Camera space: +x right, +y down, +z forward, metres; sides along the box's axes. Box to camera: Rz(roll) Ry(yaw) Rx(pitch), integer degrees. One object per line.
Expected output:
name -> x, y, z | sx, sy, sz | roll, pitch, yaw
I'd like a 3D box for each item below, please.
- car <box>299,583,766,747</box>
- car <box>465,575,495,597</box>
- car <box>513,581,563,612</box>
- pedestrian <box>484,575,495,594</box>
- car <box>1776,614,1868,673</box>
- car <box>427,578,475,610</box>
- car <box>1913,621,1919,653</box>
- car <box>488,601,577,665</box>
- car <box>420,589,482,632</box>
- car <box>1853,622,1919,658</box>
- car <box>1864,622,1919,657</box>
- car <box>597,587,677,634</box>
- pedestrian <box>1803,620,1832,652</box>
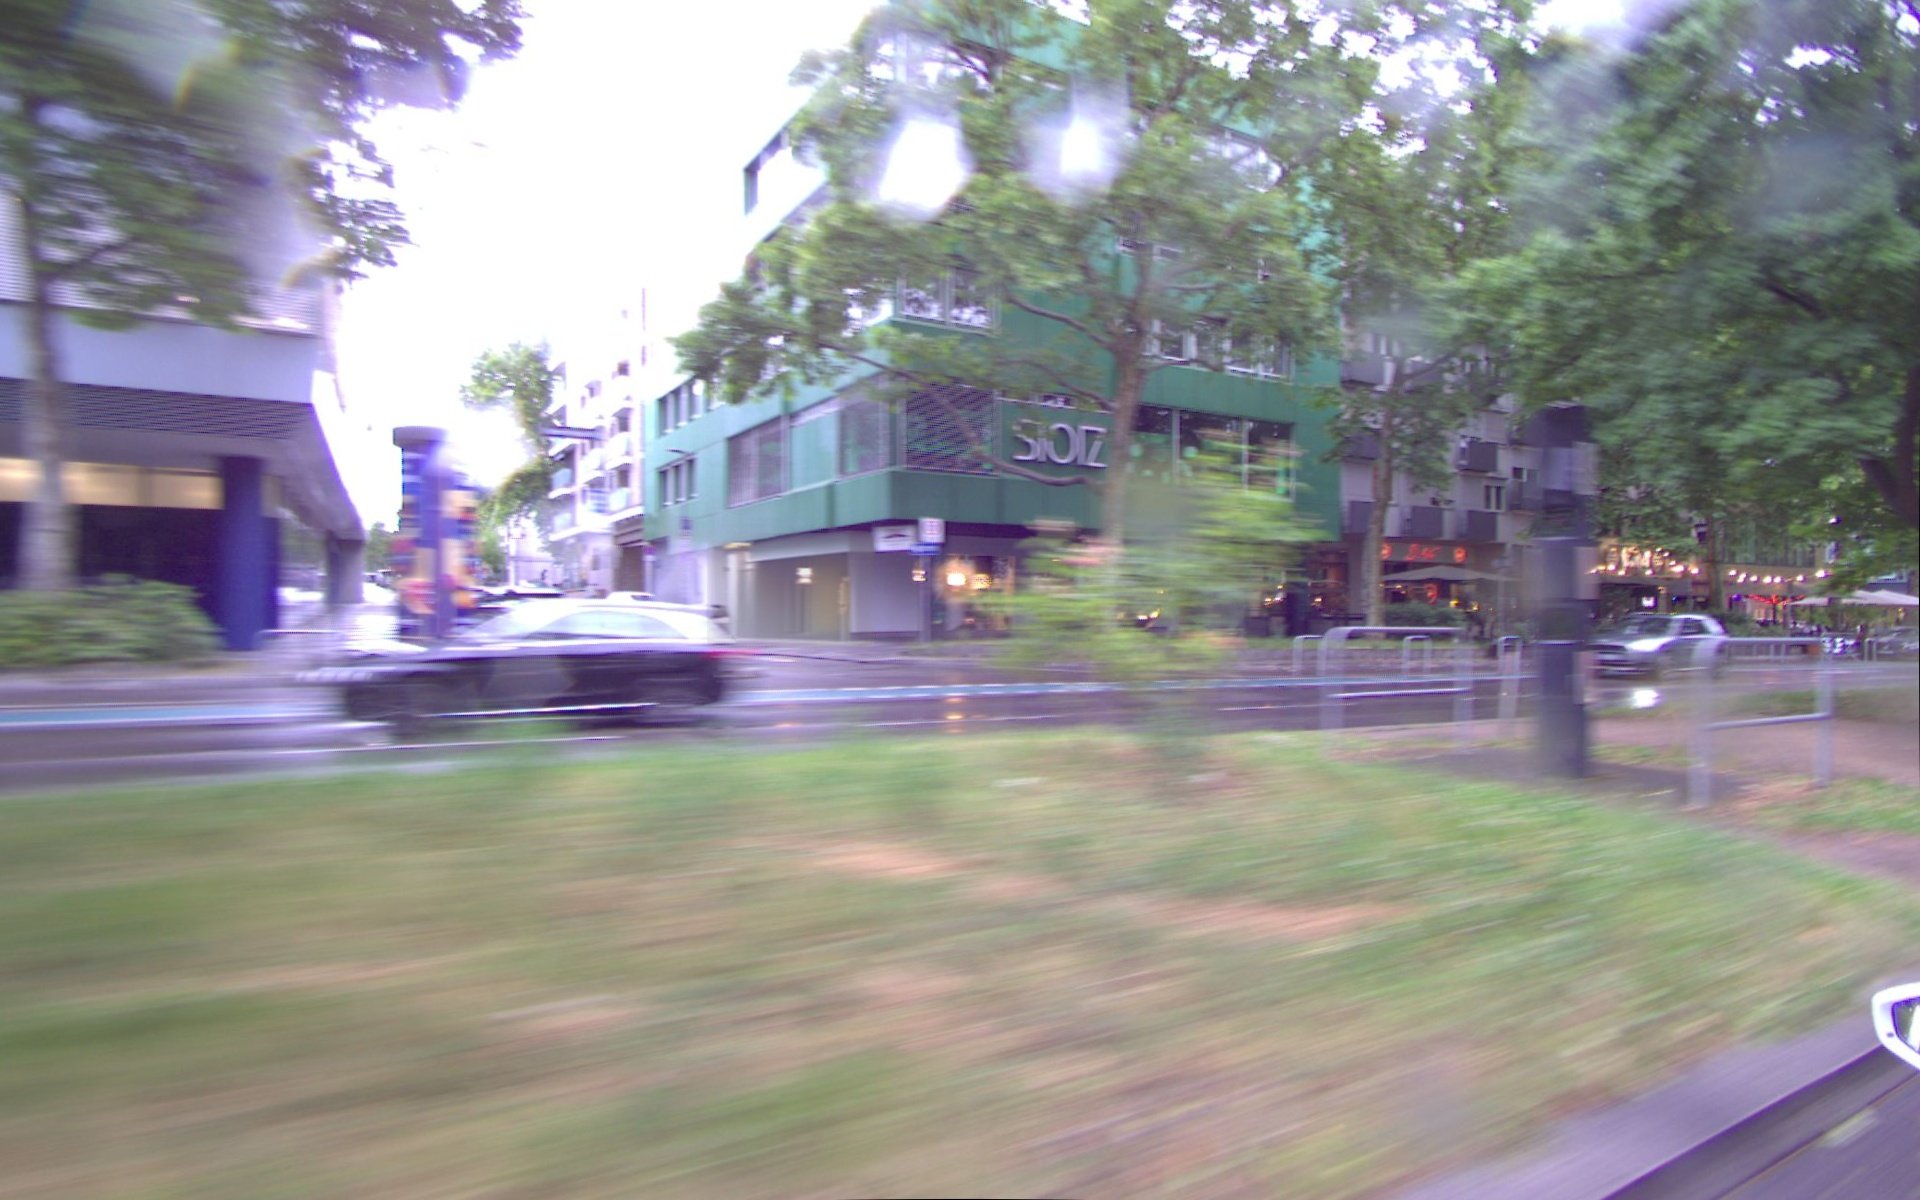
car -> -4.865, 0.639, 11.765 | 4.702, 1.512, 1.983 | 1, 3, -31
car -> -37.114, -1.121, 77.611 | 1.686, 1.591, 3.823 | 2, 0, -32
car -> -24.358, -0.222, 57.920 | 1.979, 1.706, 3.963 | 1, 0, -33
pedestrian -> -40.596, -1.343, 86.656 | 0.549, 1.636, 0.565 | 2, 1, 13
car -> 26.328, 1.272, 30.617 | 4.410, 1.648, 1.702 | 1, 0, -44
car -> -28.701, -0.346, 56.618 | 1.979, 1.706, 3.963 | 1, 0, -33
car -> 45.314, 1.726, 45.480 | 4.487, 1.388, 1.983 | 1, 2, -31
car -> -13.007, 0.926, 30.392 | 1.975, 1.715, 4.967 | -1, 0, -29
car -> -19.851, 0.404, 39.093 | 1.976, 1.561, 4.967 | 1, -1, -29
car -> 39.372, 1.653, 41.989 | 4.431, 1.413, 1.816 | 1, 0, -31
car -> 38.838, 1.618, 41.814 | 2.662, 1.406, 1.045 | 1, -1, -30
car -> -12.622, 0.377, 39.141 | 1.979, 1.706, 3.963 | 1, 0, -33
pedestrian -> 38.323, 1.606, 44.880 | 0.923, 1.398, 0.758 | 1, 0, -33
